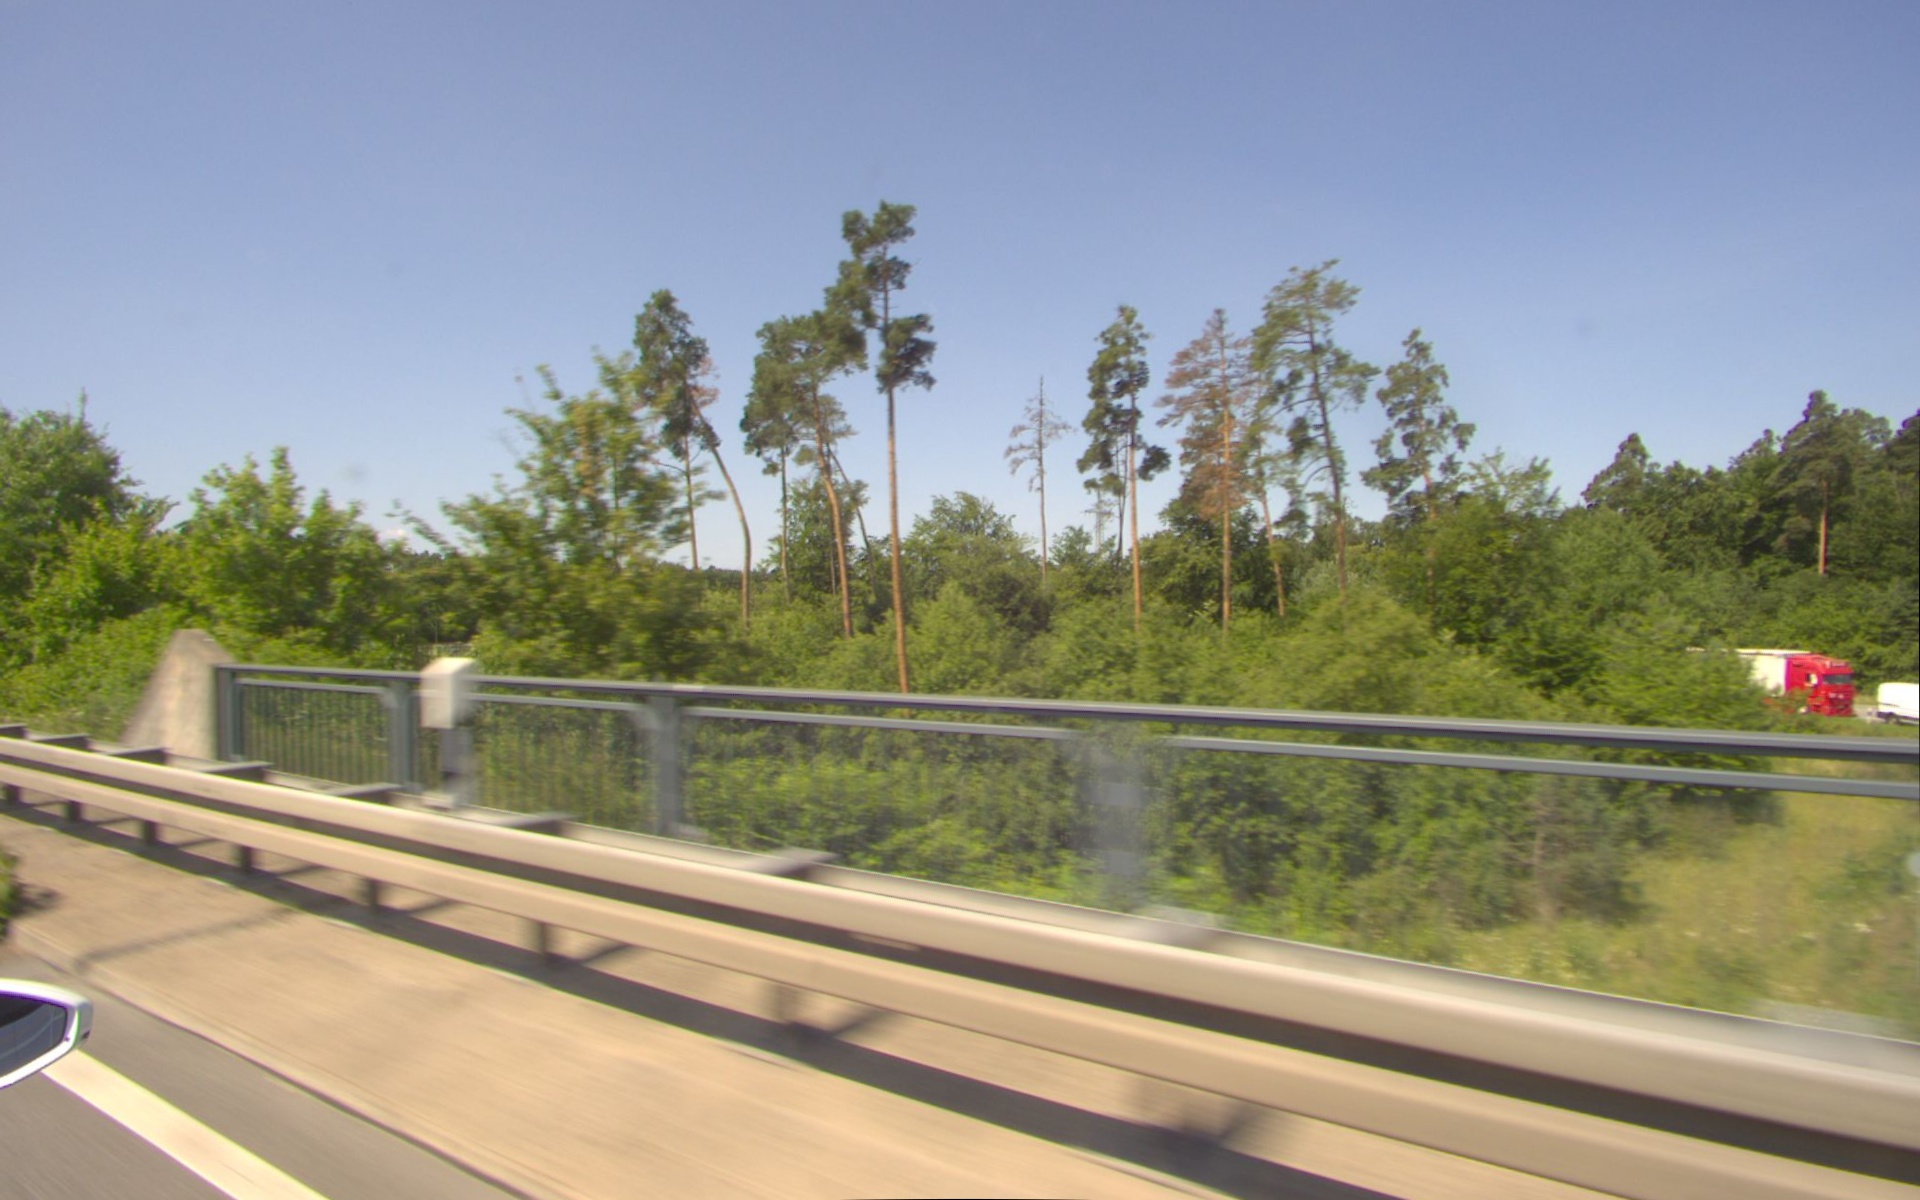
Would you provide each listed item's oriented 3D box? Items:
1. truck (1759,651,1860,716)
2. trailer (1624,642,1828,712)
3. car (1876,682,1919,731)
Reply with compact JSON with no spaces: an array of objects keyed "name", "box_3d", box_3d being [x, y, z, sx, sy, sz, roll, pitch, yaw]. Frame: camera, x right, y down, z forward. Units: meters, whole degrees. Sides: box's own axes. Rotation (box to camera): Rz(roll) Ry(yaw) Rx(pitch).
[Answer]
[{"name":"truck","box_3d":[54.968,5.359,64.890,2.190,3.705,4.417,3,1,-11]},{"name":"trailer","box_3d":[53.712,5.260,71.042,2.219,3.705,13.144,3,0,-11]},{"name":"car","box_3d":[55.958,6.278,57.266,1.961,2.567,5.438,3,0,-1]}]
